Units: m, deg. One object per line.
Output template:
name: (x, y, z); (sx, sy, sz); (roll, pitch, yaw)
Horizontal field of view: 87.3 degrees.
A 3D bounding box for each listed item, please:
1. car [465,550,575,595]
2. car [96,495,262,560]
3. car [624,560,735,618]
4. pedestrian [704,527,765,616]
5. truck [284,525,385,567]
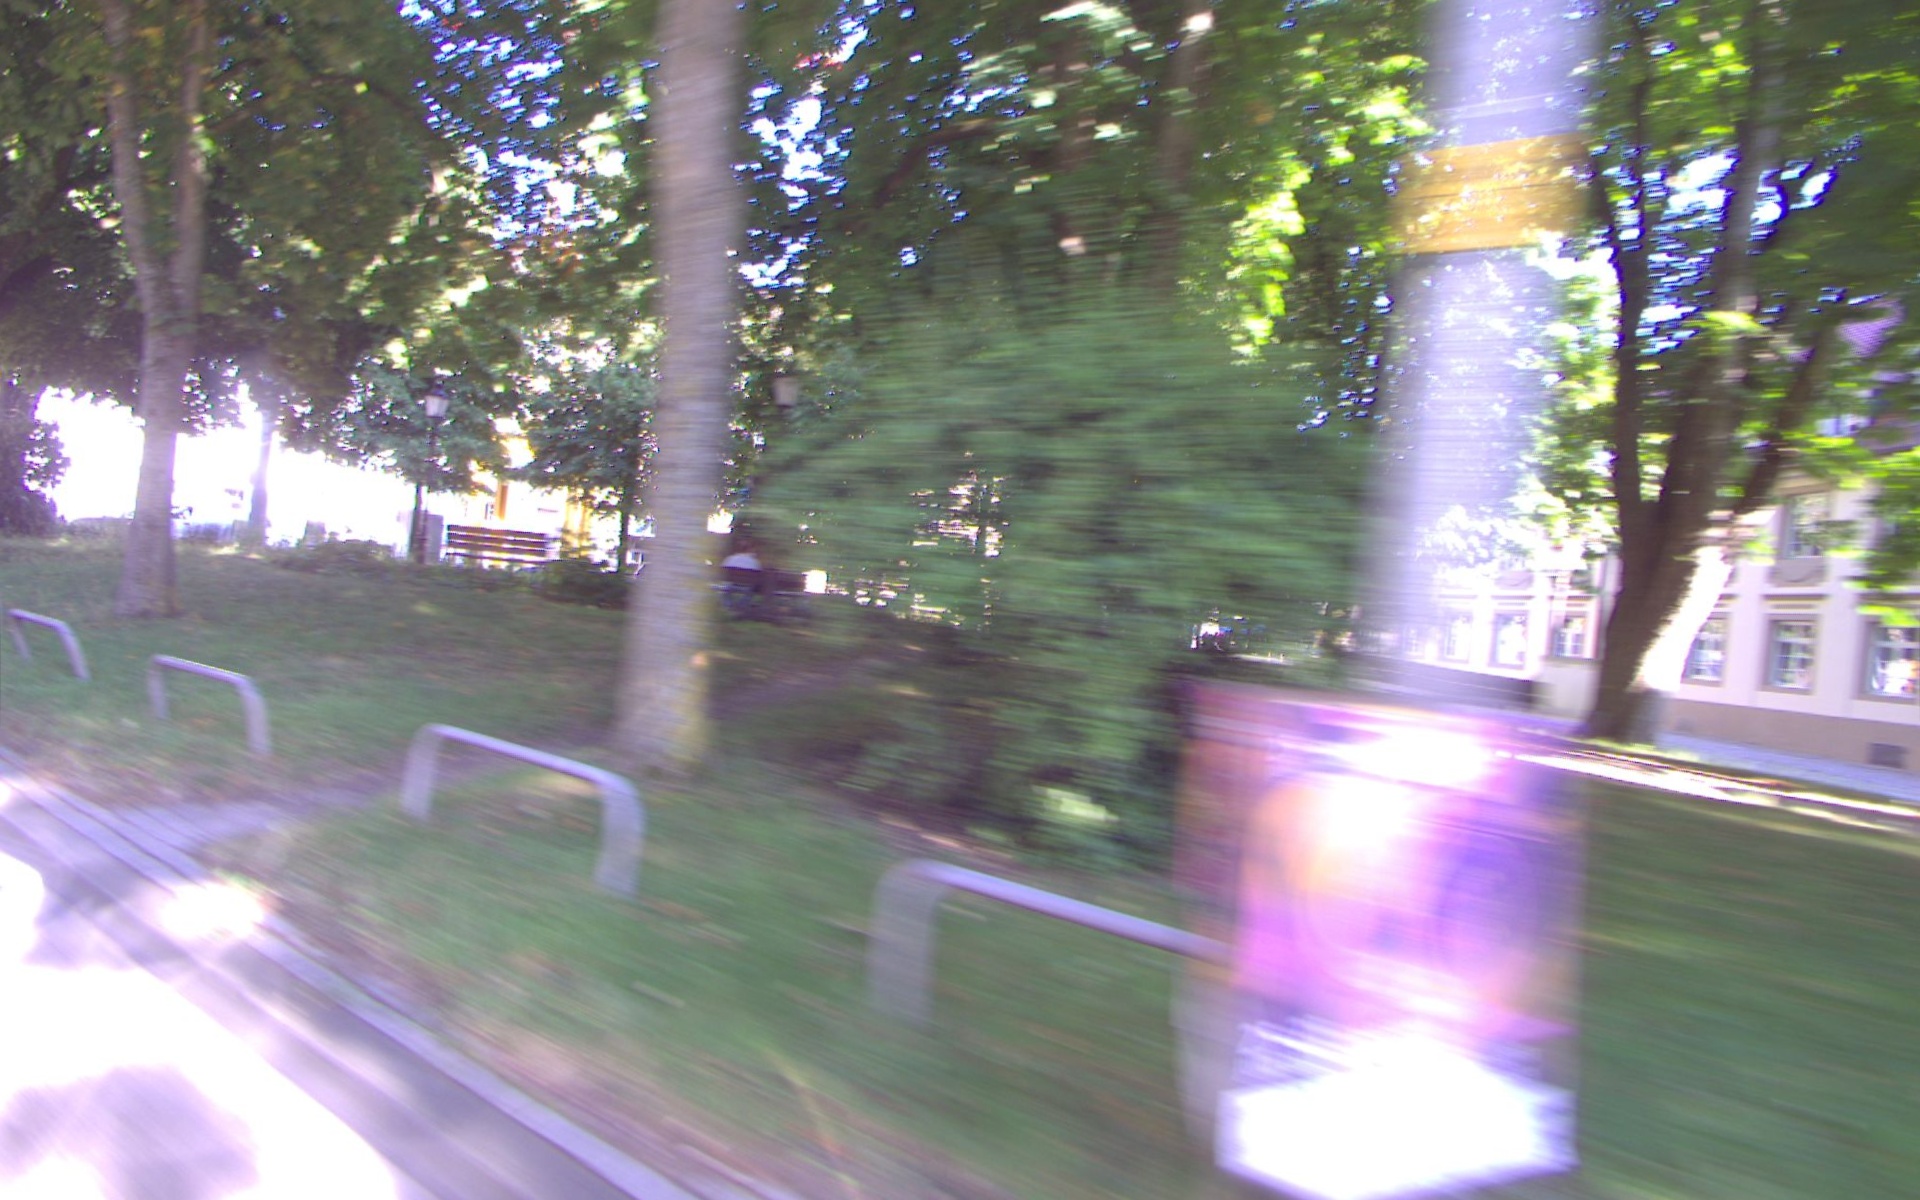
car: (-19.794, -1.222, 45.381); (4.001, 1.462, 1.998); (7, 0, -7)
car: (-31.806, -2.908, 41.152); (4.837, 1.877, 1.989); (7, 0, -23)
car: (-11.061, -0.398, 39.944); (3.933, 1.815, 1.997); (6, -2, -11)
pedestrian: (-3.627, -0.450, 16.224); (0.669, 1.335, 0.695); (6, 2, 6)
truck: (-33.420, -2.874, 53.846); (4.030, 1.605, 1.996); (7, 0, -12)
